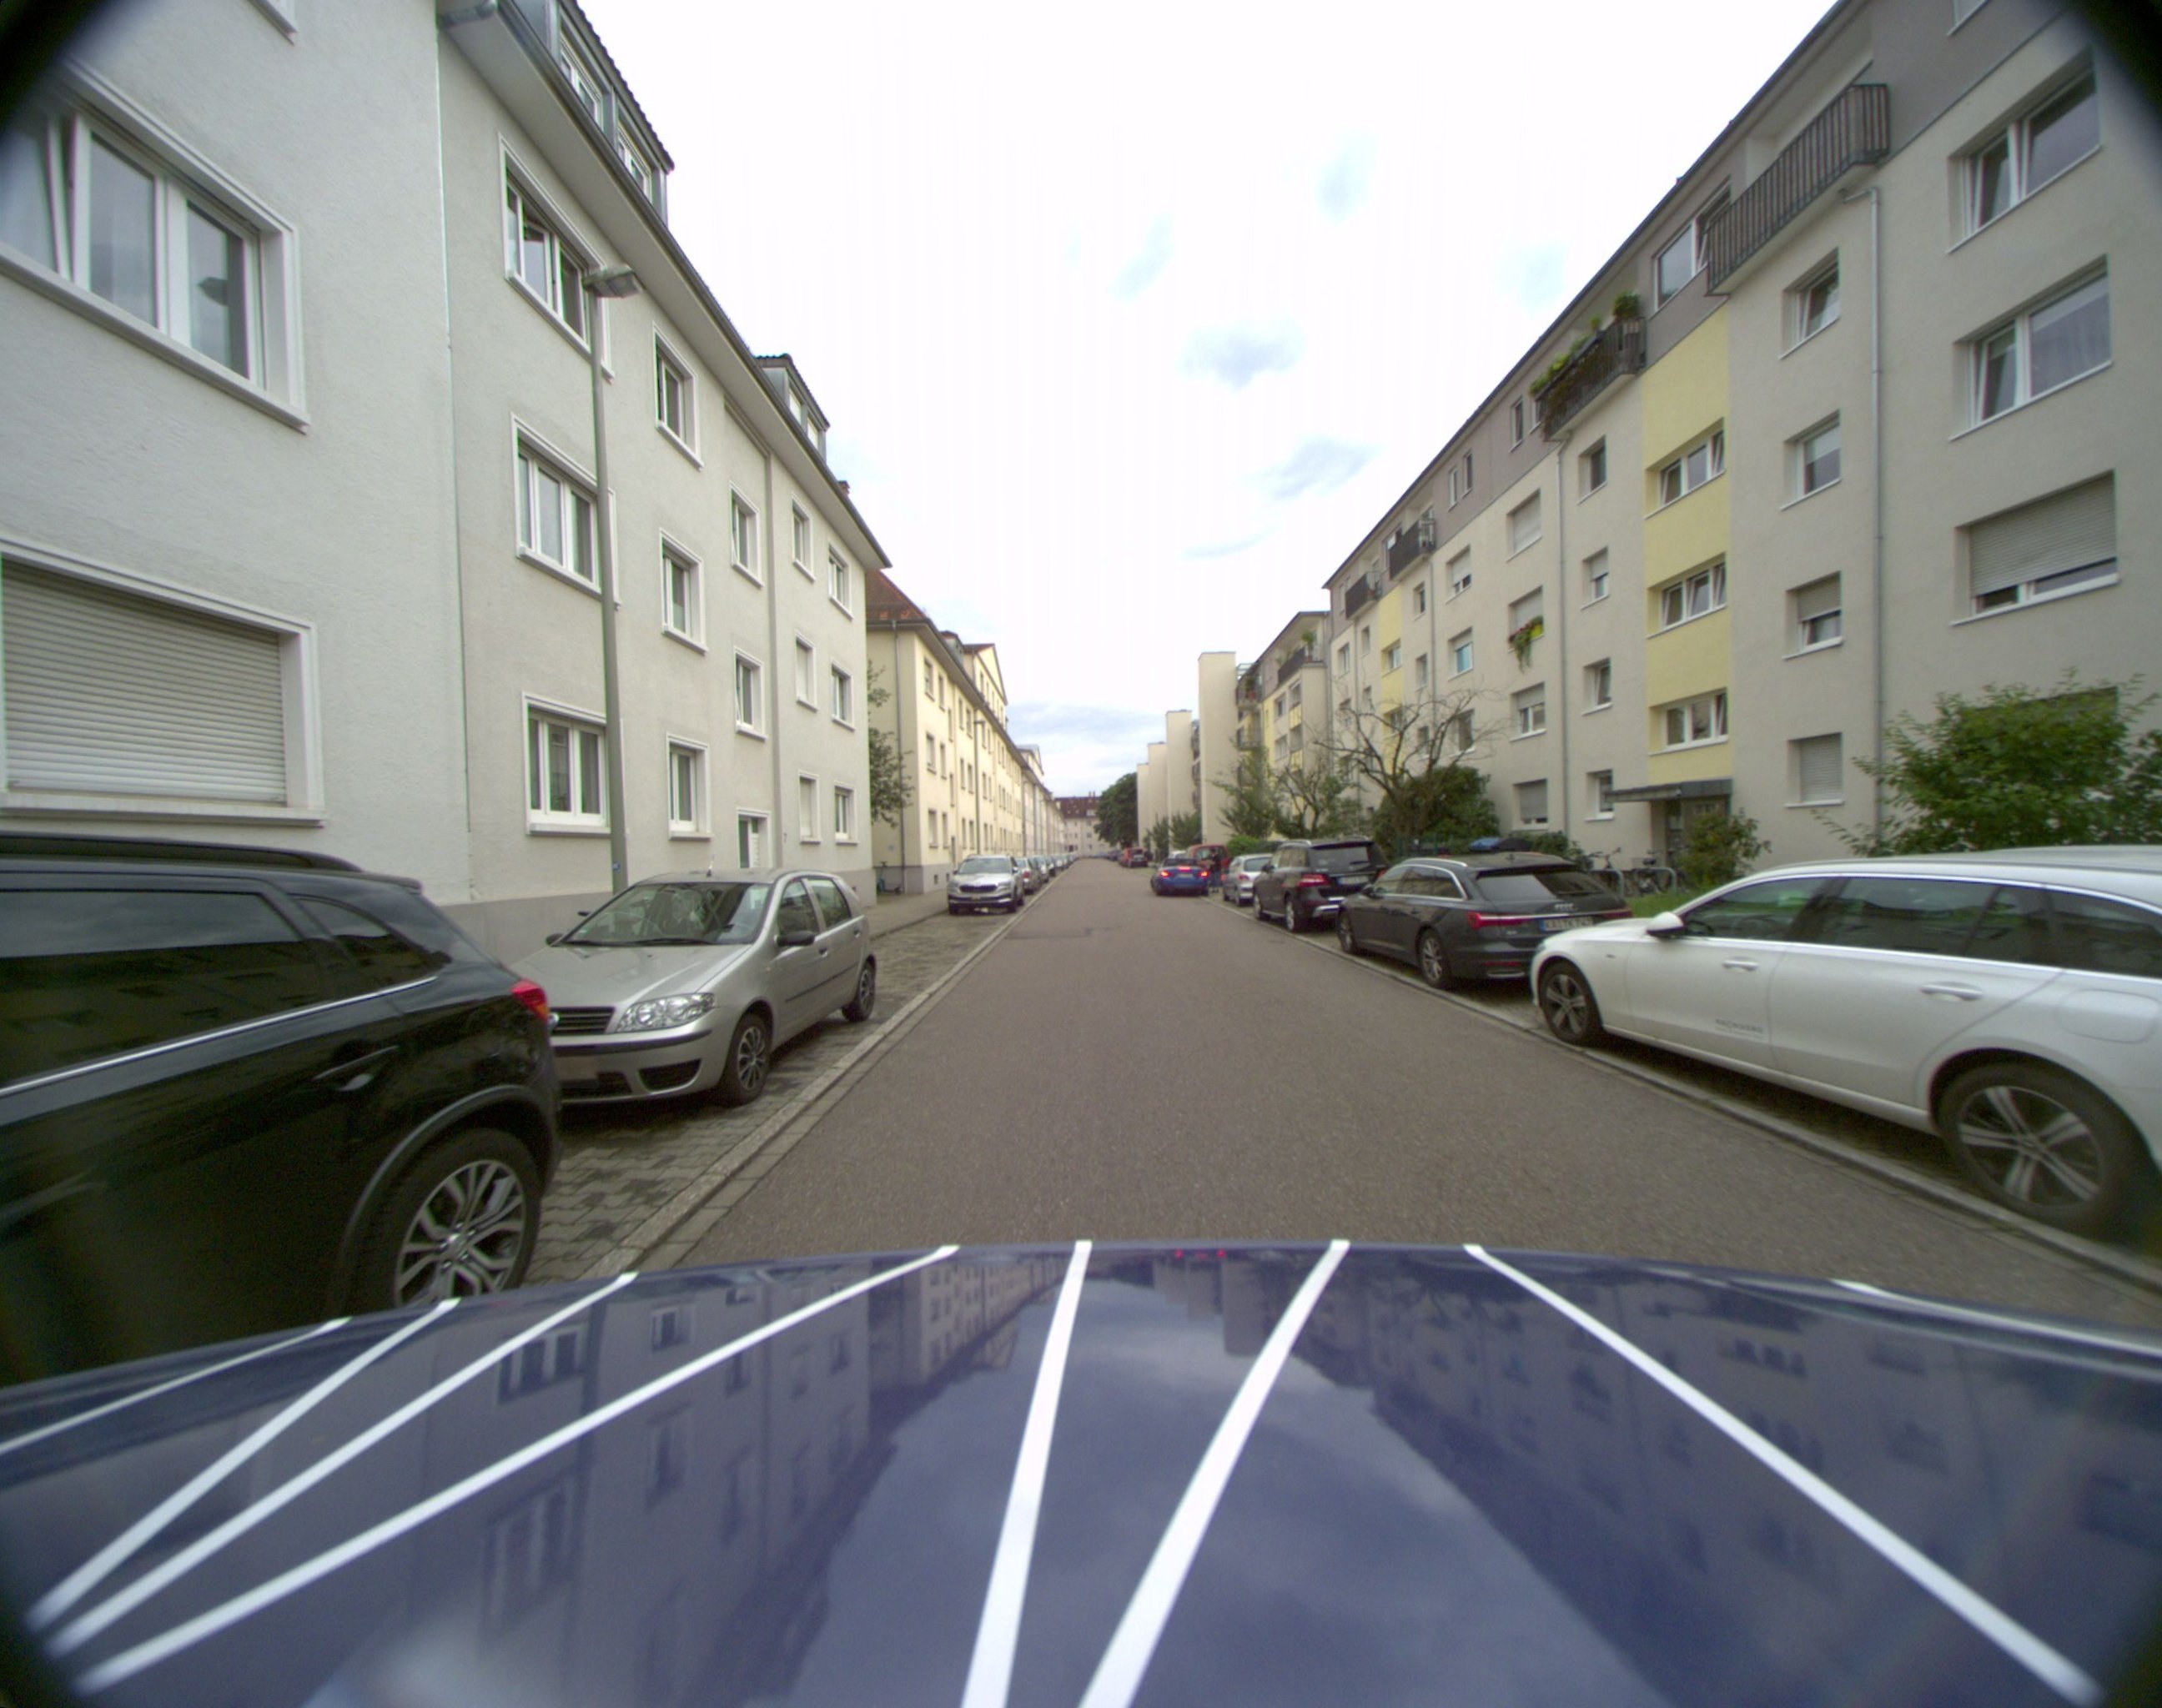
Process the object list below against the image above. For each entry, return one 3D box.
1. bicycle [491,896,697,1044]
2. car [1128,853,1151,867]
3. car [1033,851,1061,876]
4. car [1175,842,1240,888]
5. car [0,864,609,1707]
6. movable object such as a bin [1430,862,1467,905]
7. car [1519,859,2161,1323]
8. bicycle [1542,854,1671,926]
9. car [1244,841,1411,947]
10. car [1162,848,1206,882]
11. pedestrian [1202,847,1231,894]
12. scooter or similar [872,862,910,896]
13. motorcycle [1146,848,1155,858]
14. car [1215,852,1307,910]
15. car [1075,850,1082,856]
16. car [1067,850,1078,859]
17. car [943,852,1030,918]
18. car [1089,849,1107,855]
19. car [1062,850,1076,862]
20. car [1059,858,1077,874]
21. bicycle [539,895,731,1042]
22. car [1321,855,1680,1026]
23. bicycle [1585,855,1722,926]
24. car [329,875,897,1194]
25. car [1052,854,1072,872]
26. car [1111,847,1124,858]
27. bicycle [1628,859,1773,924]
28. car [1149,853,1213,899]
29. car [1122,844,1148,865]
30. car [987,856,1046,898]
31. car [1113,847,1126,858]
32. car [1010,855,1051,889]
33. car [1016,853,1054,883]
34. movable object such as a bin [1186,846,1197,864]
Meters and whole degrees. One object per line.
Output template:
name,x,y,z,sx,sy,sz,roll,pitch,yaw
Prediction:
bicycle,-4.812,1.078,7.716,0.577,1.168,2.037,-1,1,7
car,5.617,0.555,73.254,1.875,1.316,4.361,-2,0,-1
car,-2.273,0.613,51.585,1.729,1.508,4.060,-2,0,-1
car,5.457,0.442,33.314,1.962,1.760,4.360,-3,1,-2
car,-2.850,0.879,1.119,1.825,1.594,4.089,-2,0,-2
movable object such as a bin,8.432,0.676,17.461,0.552,0.949,0.635,-1,1,0
car,4.686,0.847,4.129,1.900,1.444,4.520,-4,1,0
bicycle,9.739,0.623,14.217,0.790,1.205,2.355,-1,0,1
car,4.809,0.680,15.558,1.900,1.730,4.474,-4,1,1
car,5.246,0.506,39.154,1.725,1.561,3.870,-4,1,1
pedestrian,4.974,0.606,27.967,0.744,1.692,0.795,-2,1,-20
scooter or similar,-7.081,0.923,28.329,1.278,1.238,0.523,-1,1,17
motorcycle,8.786,-0.114,96.638,0.871,1.299,2.420,-3,0,1
car,5.186,0.718,22.363,1.749,1.456,3.785,-3,1,1
car,-0.532,-0.203,175.756,1.563,1.334,3.788,-1,0,1
car,-1.467,0.097,129.510,1.792,1.455,4.039,-1,0,1
car,-2.568,0.803,21.603,1.825,1.633,4.091,-1,1,2
car,4.230,-0.520,189.809,4.545,1.551,1.565,-1,1,5
car,-1.656,0.223,107.005,1.788,1.590,3.804,-3,1,2
car,-1.282,1.219,78.792,1.729,1.483,4.060,-2,1,0
bicycle,-4.378,1.058,7.674,0.531,1.168,2.037,-1,1,7
car,4.729,0.828,9.557,1.900,1.444,4.666,-4,1,1
bicycle,10.576,0.624,14.180,0.790,1.179,2.355,-1,0,1
car,-2.935,1.004,5.998,1.825,1.494,4.091,-1,0,2
car,-1.700,0.790,68.831,1.729,1.508,4.060,-1,0,-1
car,6.297,-0.312,131.658,1.891,1.844,4.785,-2,0,0
bicycle,11.427,0.651,14.152,0.790,1.074,2.355,-1,0,1
car,3.557,0.736,27.800,1.849,1.443,4.501,-2,0,2
car,5.628,0.022,79.641,2.157,1.942,4.920,-4,1,-2
car,-2.494,0.855,30.377,1.729,1.468,4.505,-2,1,3
car,6.092,-0.209,119.414,1.804,1.617,4.471,-3,0,1
car,-2.395,0.817,36.981,1.607,1.468,3.869,-3,0,1
car,-2.473,0.737,41.359,1.853,1.441,3.832,-2,1,-1
movable object such as a bin,9.065,0.100,62.404,0.805,1.421,1.288,-3,1,4
